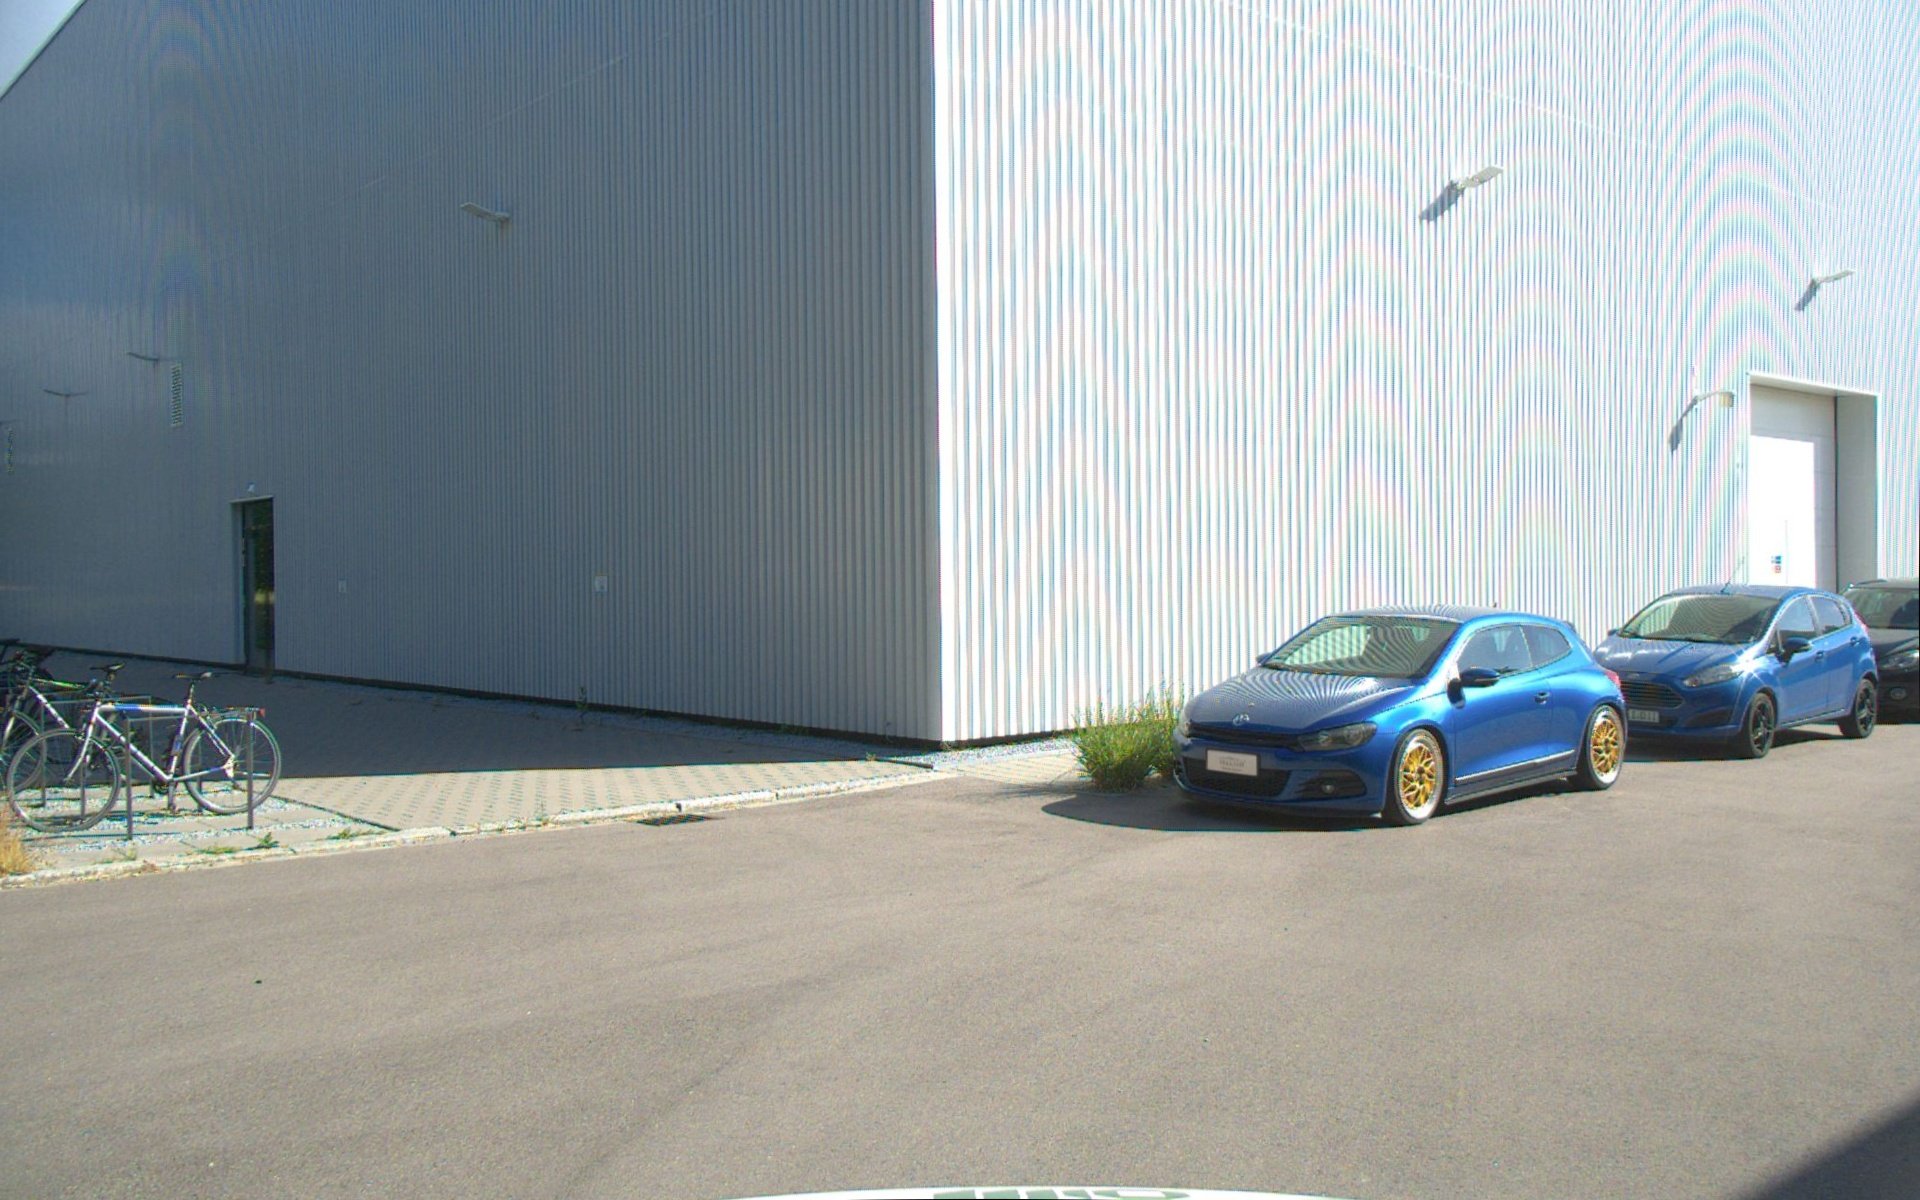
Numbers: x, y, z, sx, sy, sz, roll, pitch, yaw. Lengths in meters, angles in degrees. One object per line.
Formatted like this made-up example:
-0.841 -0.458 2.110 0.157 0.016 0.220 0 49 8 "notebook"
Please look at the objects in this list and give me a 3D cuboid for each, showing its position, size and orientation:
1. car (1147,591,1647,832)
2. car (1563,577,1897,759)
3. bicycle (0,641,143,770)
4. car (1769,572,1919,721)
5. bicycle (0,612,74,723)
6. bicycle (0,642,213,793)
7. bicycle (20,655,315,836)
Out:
3.269 0.667 11.981 3.920 1.373 1.648 -1 2 -42 "car"
7.397 0.546 15.749 3.733 1.472 1.600 -1 2 -43 "car"
-8.660 0.978 15.320 1.878 1.114 0.518 -2 0 -42 "bicycle"
10.960 0.459 18.968 3.843 1.471 1.632 -1 4 -41 "car"
-12.102 0.823 19.688 2.610 1.288 1.126 -1 1 -37 "bicycle"
-7.062 0.928 13.378 1.780 1.101 0.517 -1 1 -39 "bicycle"
-5.437 0.964 11.445 0.451 1.080 1.793 0 1 44 "bicycle"
